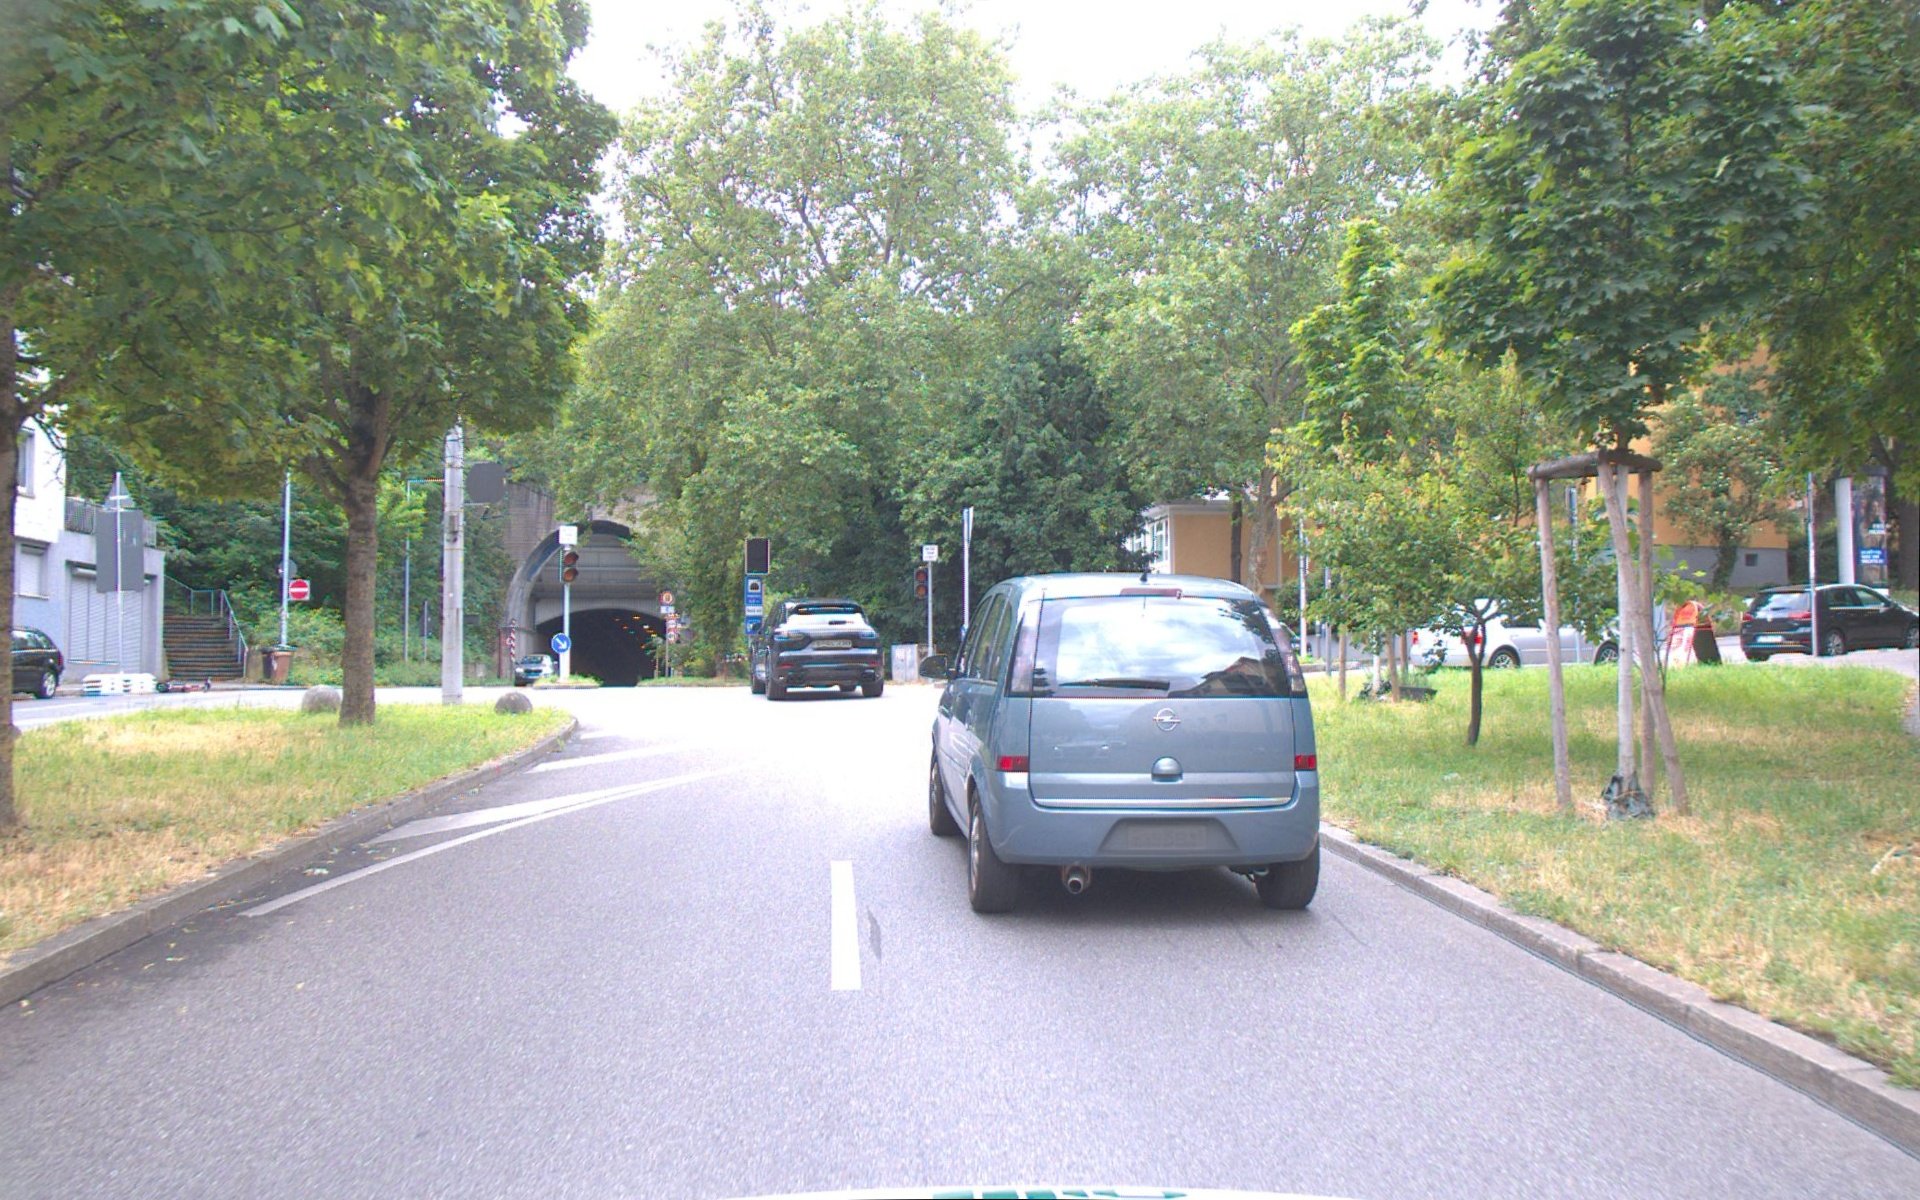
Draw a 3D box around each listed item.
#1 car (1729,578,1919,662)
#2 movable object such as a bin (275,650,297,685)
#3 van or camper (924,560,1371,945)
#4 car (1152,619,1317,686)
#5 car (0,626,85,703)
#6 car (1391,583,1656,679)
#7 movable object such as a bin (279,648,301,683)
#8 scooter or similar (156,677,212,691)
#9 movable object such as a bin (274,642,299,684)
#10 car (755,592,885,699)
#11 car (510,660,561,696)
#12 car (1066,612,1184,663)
[{"bbox_3d":[16.988,0.375,32.090,4.074,1.453,1.720,-2,-2,-31],"label":"car"},{"bbox_3d":[-19.711,1.978,48.371,0.508,0.984,0.442,4,-3,-19],"label":"movable object such as a bin"},{"bbox_3d":[0.785,0.619,8.981,1.701,1.605,3.642,-2,1,-5],"label":"van or camper"},{"bbox_3d":[8.065,1.538,48.617,4.328,1.511,1.860,-6,-2,28],"label":"car"},{"bbox_3d":[-18.883,1.230,31.774,1.954,1.425,4.514,0,-1,-4],"label":"car"},{"bbox_3d":[9.599,0.485,28.218,4.058,1.453,1.851,-1,1,-21],"label":"car"},{"bbox_3d":[-20.454,1.991,50.495,0.547,1.043,0.428,4,-3,-19],"label":"movable object such as a bin"},{"bbox_3d":[-18.697,2.032,39.889,1.107,0.293,1.093,-1,-2,-20],"label":"scooter or similar"},{"bbox_3d":[-19.923,1.864,48.910,0.595,1.206,0.489,4,-3,-19],"label":"movable object such as a bin"},{"bbox_3d":[-2.503,0.763,28.791,1.957,1.682,3.991,-1,-1,-9],"label":"car"},{"bbox_3d":[-21.666,3.985,84.554,1.834,1.729,4.928,0,-3,-7],"label":"car"},{"bbox_3d":[5.676,1.335,57.715,1.967,1.606,4.868,-1,-3,-24],"label":"car"}]
